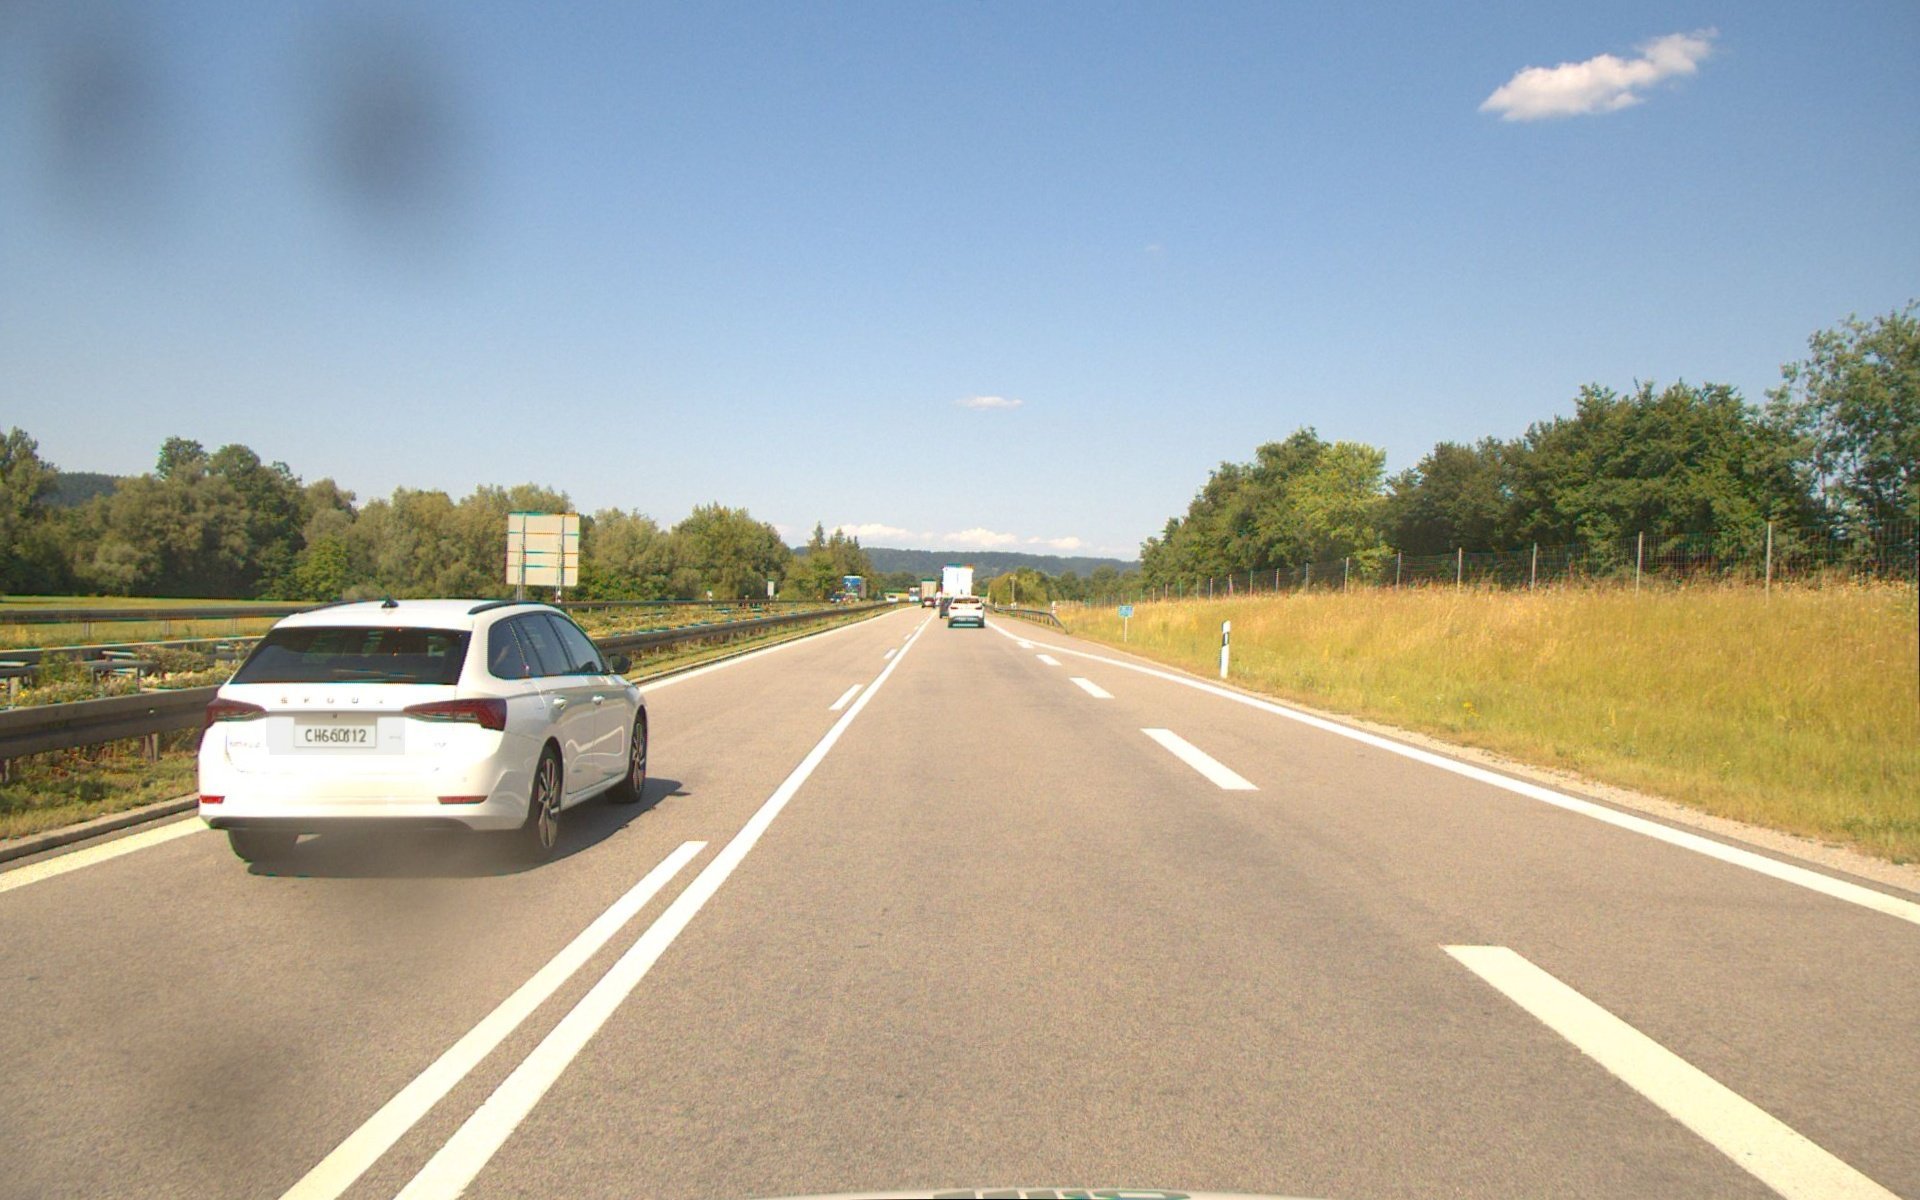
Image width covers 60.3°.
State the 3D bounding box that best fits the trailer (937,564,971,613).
[{"bbox_3d":[-0.424,-0.957,143.117,2.760,4.036,14.160,1,0,0],"label":"trailer"}]

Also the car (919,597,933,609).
[{"bbox_3d":[-4.509,0.375,220.328,1.735,1.446,4.495,3,0,0],"label":"car"}]

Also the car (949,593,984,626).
[{"bbox_3d":[0.301,0.445,80.797,1.650,1.522,4.987,-1,1,0],"label":"car"}]

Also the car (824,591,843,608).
[{"bbox_3d":[-14.952,-0.078,195.547,1.812,1.835,4.870,-1,1,-1],"label":"car"}]

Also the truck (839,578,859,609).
[{"bbox_3d":[-16.186,-0.908,241.272,2.684,4.378,6.333,1,0,-1],"label":"truck"}]

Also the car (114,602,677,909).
[{"bbox_3d":[-3.160,0.750,10.582,1.802,1.446,5.254,0,0,0],"label":"car"}]

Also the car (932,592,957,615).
[{"bbox_3d":[-1.040,0.249,114.030,1.631,1.480,4.544,3,0,0],"label":"car"}]
